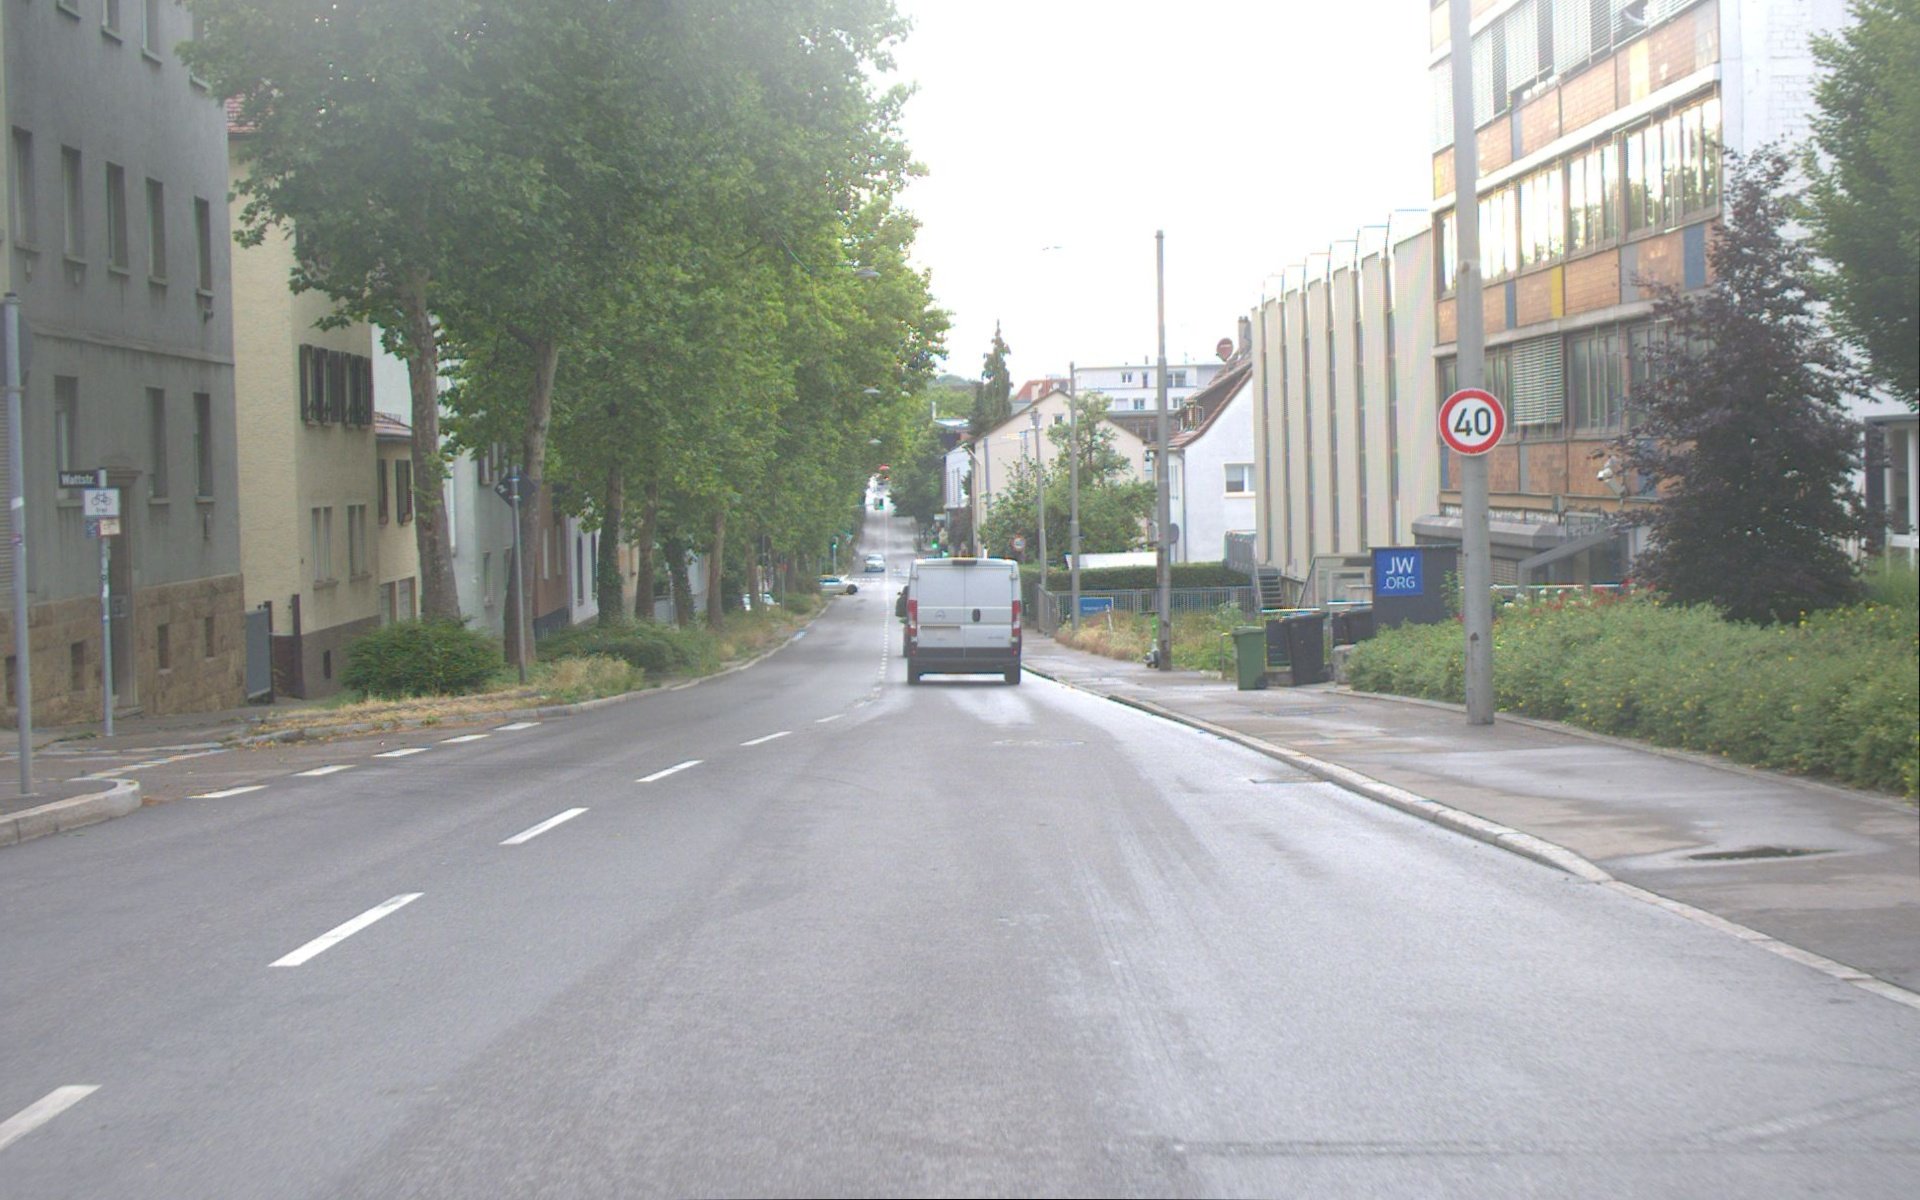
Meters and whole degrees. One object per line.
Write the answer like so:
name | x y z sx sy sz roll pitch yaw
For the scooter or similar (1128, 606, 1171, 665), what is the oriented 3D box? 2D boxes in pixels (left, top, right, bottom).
scooter or similar | 3.854 0.713 69.831 0.605 1.158 1.700 -1 0 -5

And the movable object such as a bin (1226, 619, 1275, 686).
movable object such as a bin | 4.300 0.774 50.932 0.619 0.933 0.686 -4 0 0

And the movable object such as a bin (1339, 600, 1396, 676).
movable object such as a bin | 6.055 0.565 51.147 0.695 1.078 0.778 -4 0 0

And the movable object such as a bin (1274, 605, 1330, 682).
movable object such as a bin | 5.080 0.639 51.092 0.695 1.078 0.778 -4 0 0

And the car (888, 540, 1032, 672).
car | -0.044 0.063 62.542 2.346 2.153 4.778 -2 2 -3

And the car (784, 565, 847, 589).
car | -9.652 -1.549 229.448 1.998 1.571 3.991 0 1 40
